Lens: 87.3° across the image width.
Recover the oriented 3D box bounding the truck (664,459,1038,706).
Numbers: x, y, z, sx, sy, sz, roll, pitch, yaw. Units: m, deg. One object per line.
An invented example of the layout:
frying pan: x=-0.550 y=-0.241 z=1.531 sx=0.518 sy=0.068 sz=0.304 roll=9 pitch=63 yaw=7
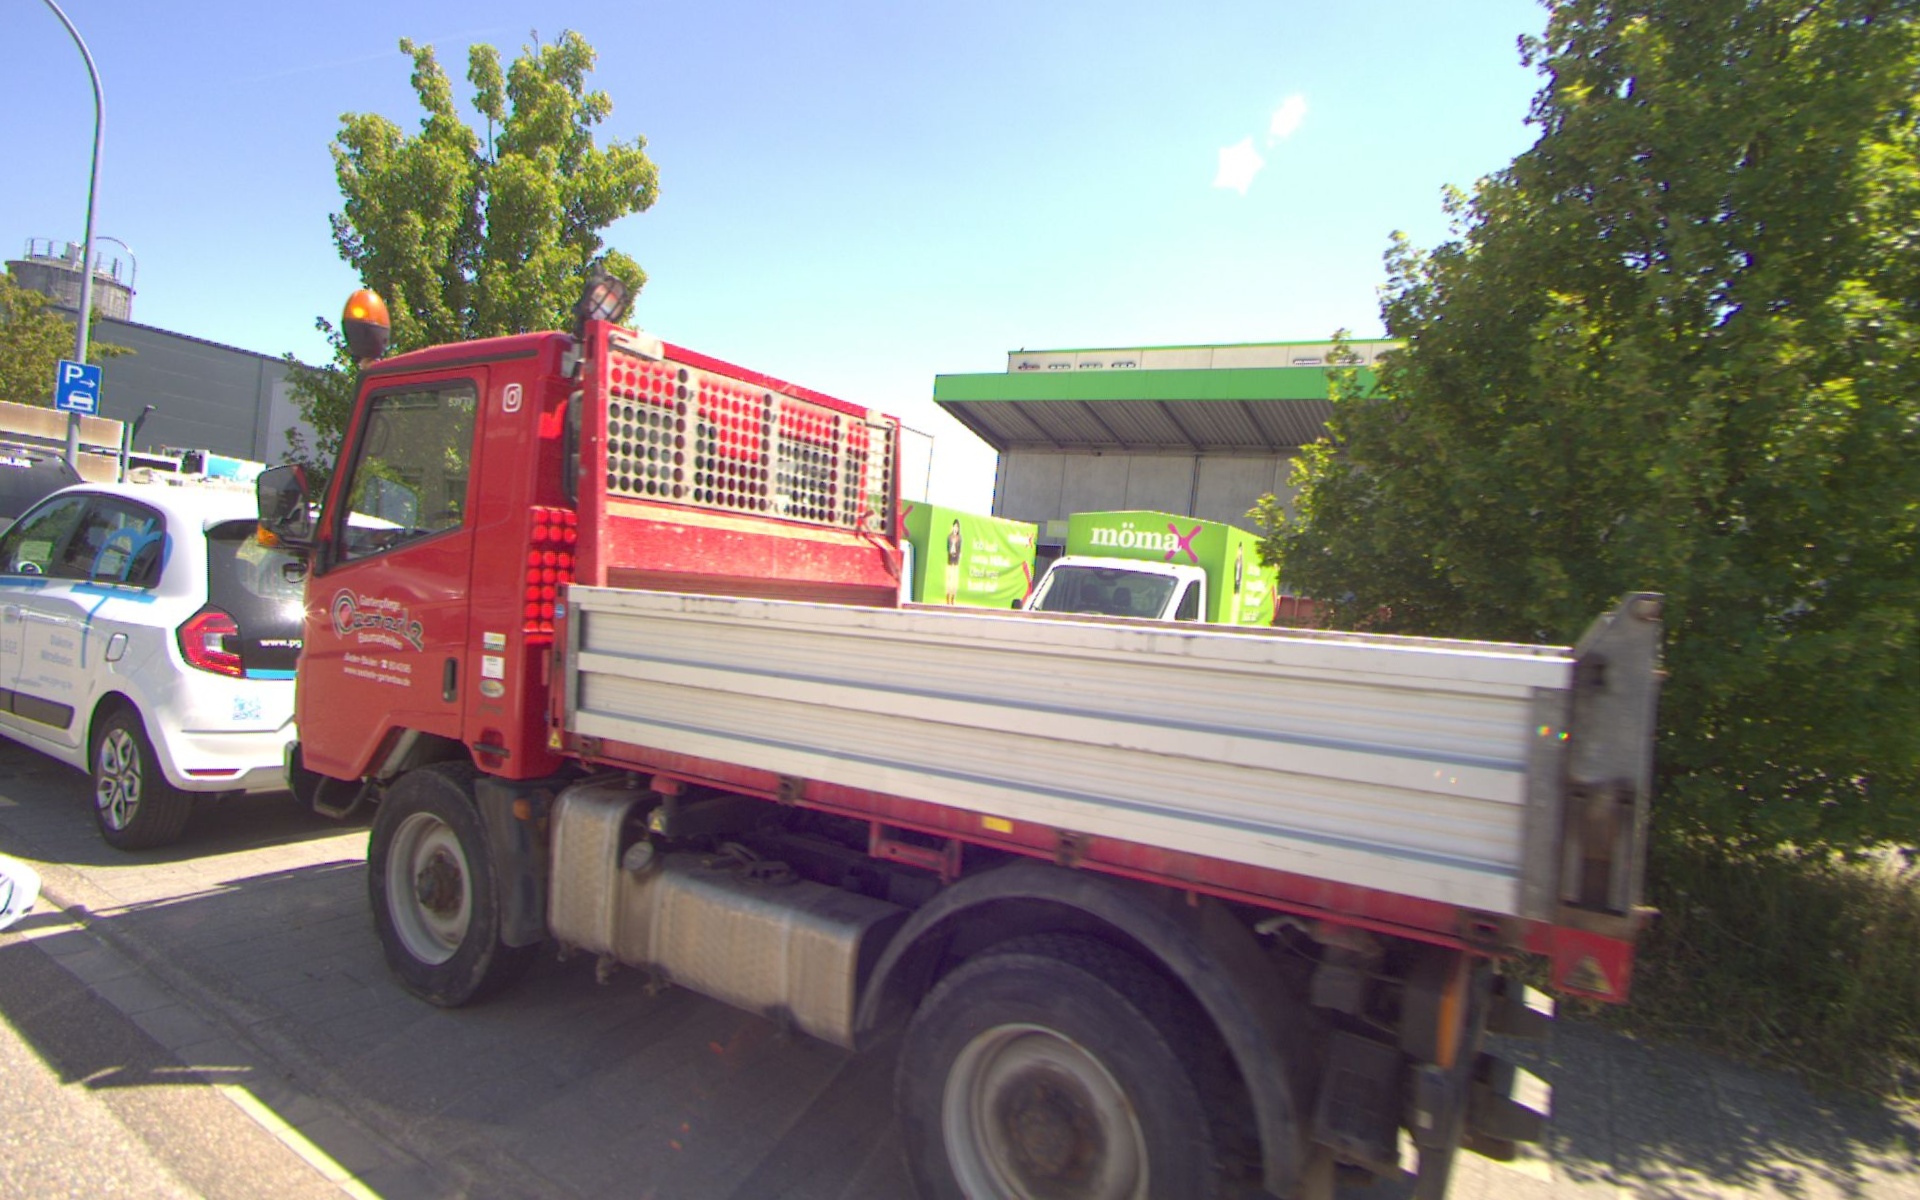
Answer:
truck: x=-1.316 y=-0.125 z=15.281 sx=2.374 sy=2.950 sz=5.827 roll=7 pitch=0 yaw=31

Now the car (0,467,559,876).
car: x=-4.328 y=0.149 z=5.667 sx=3.933 sy=1.551 sz=1.739 roll=6 pitch=2 yaw=31

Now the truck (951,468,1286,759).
truck: x=2.444 y=0.226 z=13.381 sx=2.267 sy=2.908 sz=5.911 roll=7 pitch=0 yaw=29

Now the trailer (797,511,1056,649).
trailer: x=-0.644 y=-0.425 z=37.431 sx=2.758 sy=3.922 sz=12.631 roll=6 pitch=-1 yaw=32

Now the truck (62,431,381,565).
truck: x=-28.797 y=-3.788 z=40.103 sx=2.981 sy=3.871 sz=10.004 roll=6 pitch=0 yaw=21

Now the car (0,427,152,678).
car: x=-9.469 y=-0.591 z=8.929 sx=5.071 sy=1.909 sz=1.994 roll=6 pitch=1 yaw=32

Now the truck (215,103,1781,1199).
truck: x=-0.396 y=0.262 z=3.247 sx=4.317 sy=2.211 sz=1.679 roll=6 pitch=2 yaw=32

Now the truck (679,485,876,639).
truck: x=-5.293 y=-1.026 z=29.940 sx=2.758 sy=3.923 sz=5.067 roll=6 pitch=0 yaw=32
